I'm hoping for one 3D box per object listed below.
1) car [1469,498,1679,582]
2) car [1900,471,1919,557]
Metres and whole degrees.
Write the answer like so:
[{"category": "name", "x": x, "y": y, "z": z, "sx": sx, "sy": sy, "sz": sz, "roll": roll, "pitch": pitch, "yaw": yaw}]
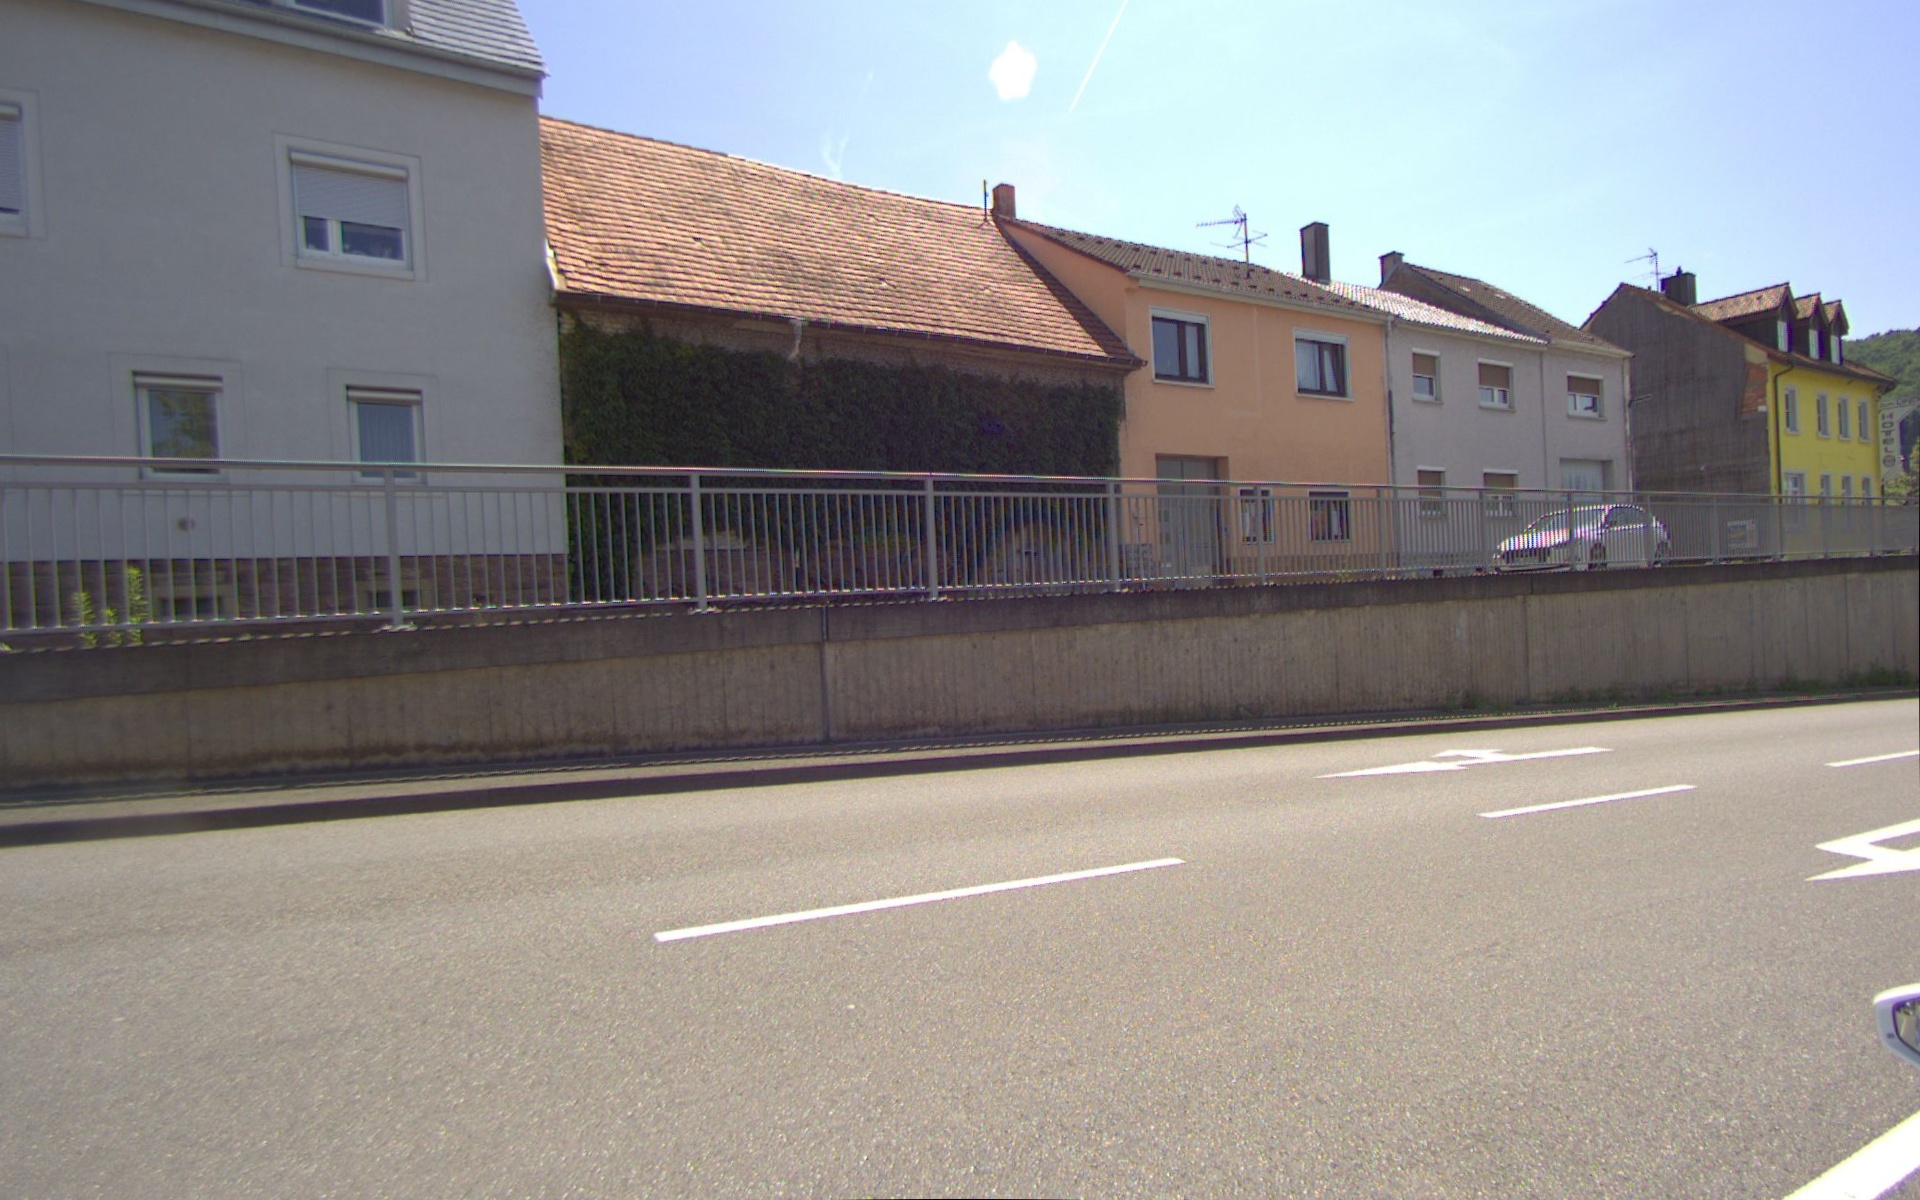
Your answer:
[{"category": "car", "x": 12.176, "y": -1.177, "z": 19.867, "sx": 4.259, "sy": 1.482, "sz": 1.804, "roll": -3, "pitch": 2, "yaw": -31}, {"category": "car", "x": 31.546, "y": -2.690, "z": 31.044, "sx": 5.591, "sy": 2.571, "sz": 2.056, "roll": -3, "pitch": 2, "yaw": -29}]
